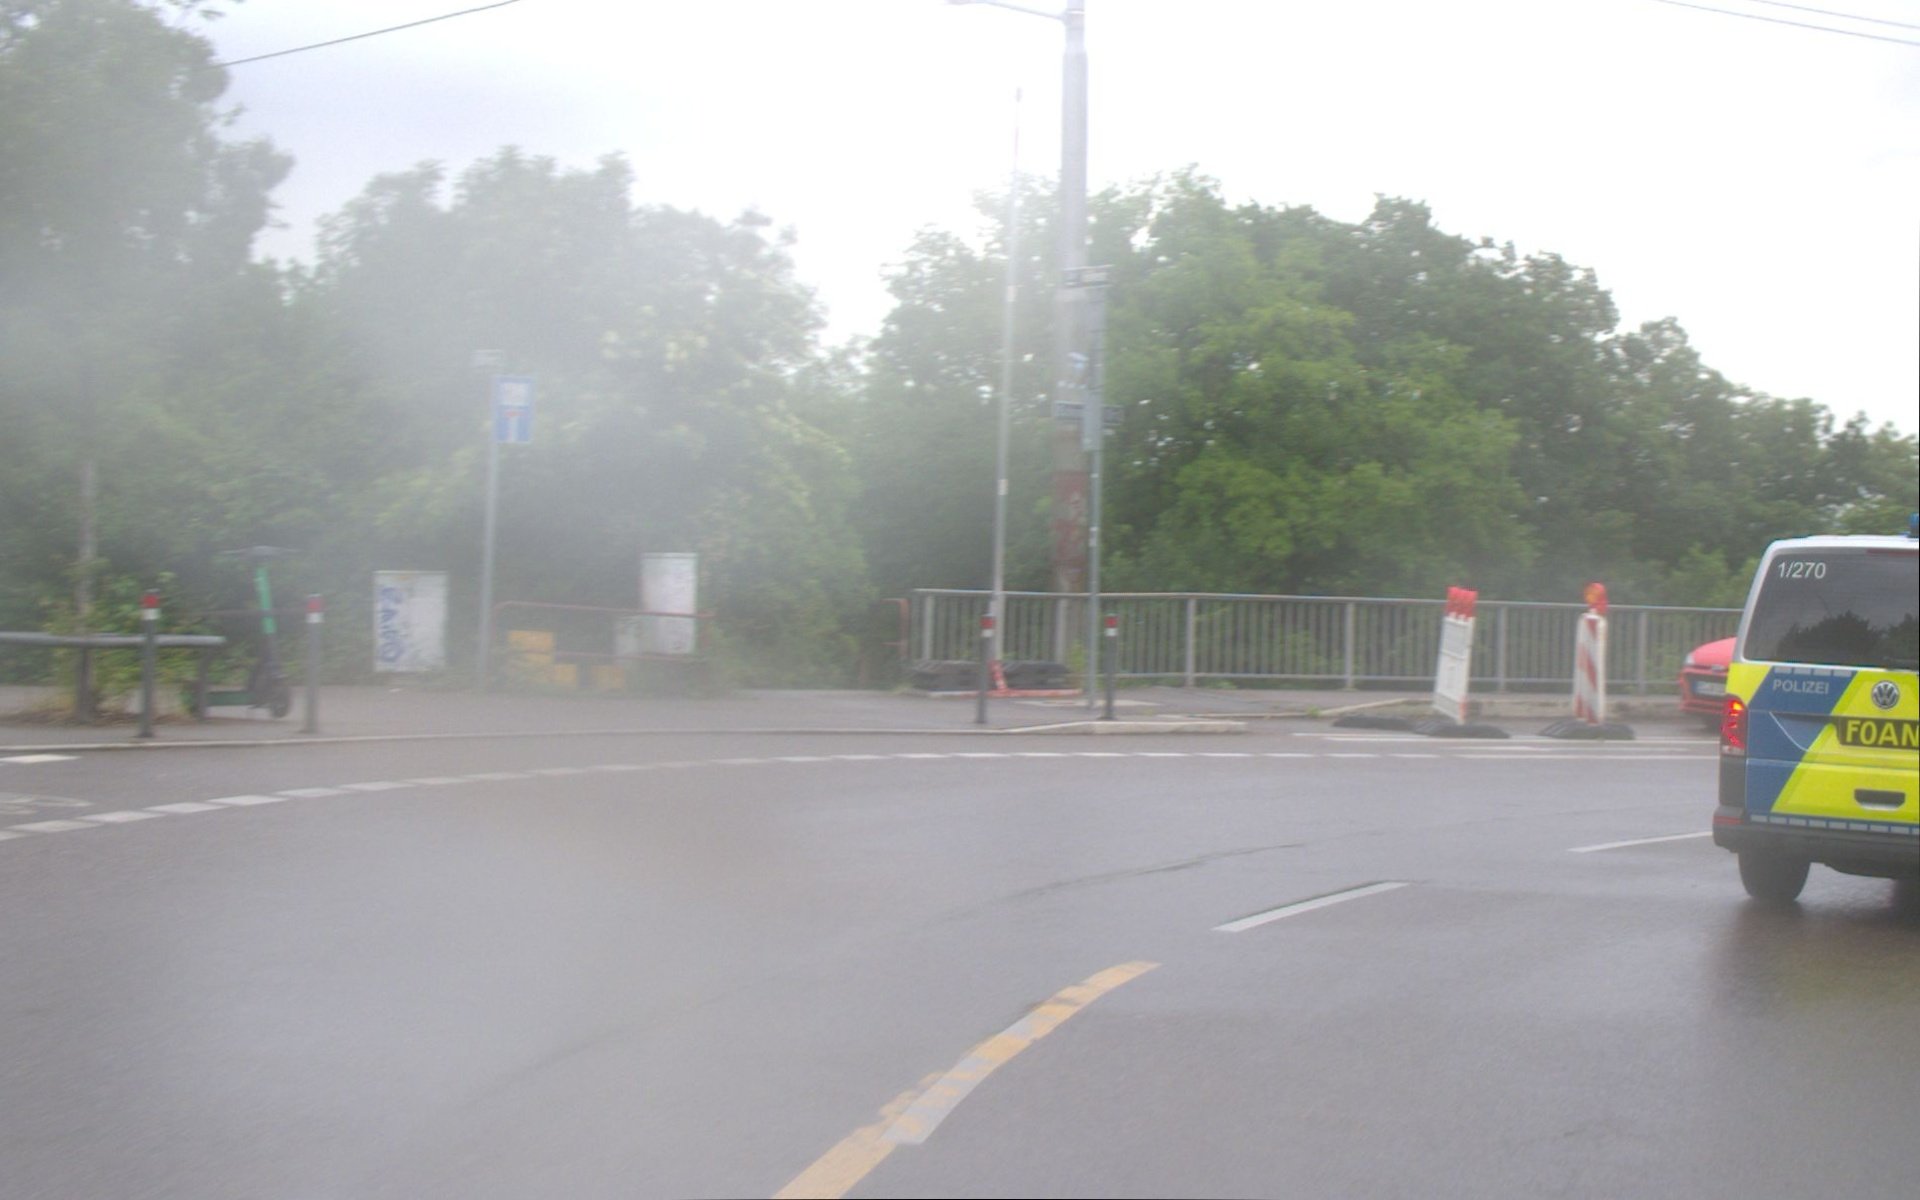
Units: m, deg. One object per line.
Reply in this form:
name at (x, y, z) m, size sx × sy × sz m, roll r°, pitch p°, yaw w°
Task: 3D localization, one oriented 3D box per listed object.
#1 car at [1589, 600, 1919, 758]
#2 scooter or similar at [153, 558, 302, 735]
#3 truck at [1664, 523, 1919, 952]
car at (8.548, 0.825, 34.795) m, size 4.122 × 1.393 × 1.691 m, roll 3°, pitch 0°, yaw -30°
scooter or similar at (-5.333, 0.334, 25.030) m, size 1.035 × 1.214 × 0.243 m, roll 3°, pitch 0°, yaw 22°
truck at (5.621, 0.727, 18.672) m, size 1.997 × 2.007 × 4.726 m, roll 4°, pitch 0°, yaw 30°
